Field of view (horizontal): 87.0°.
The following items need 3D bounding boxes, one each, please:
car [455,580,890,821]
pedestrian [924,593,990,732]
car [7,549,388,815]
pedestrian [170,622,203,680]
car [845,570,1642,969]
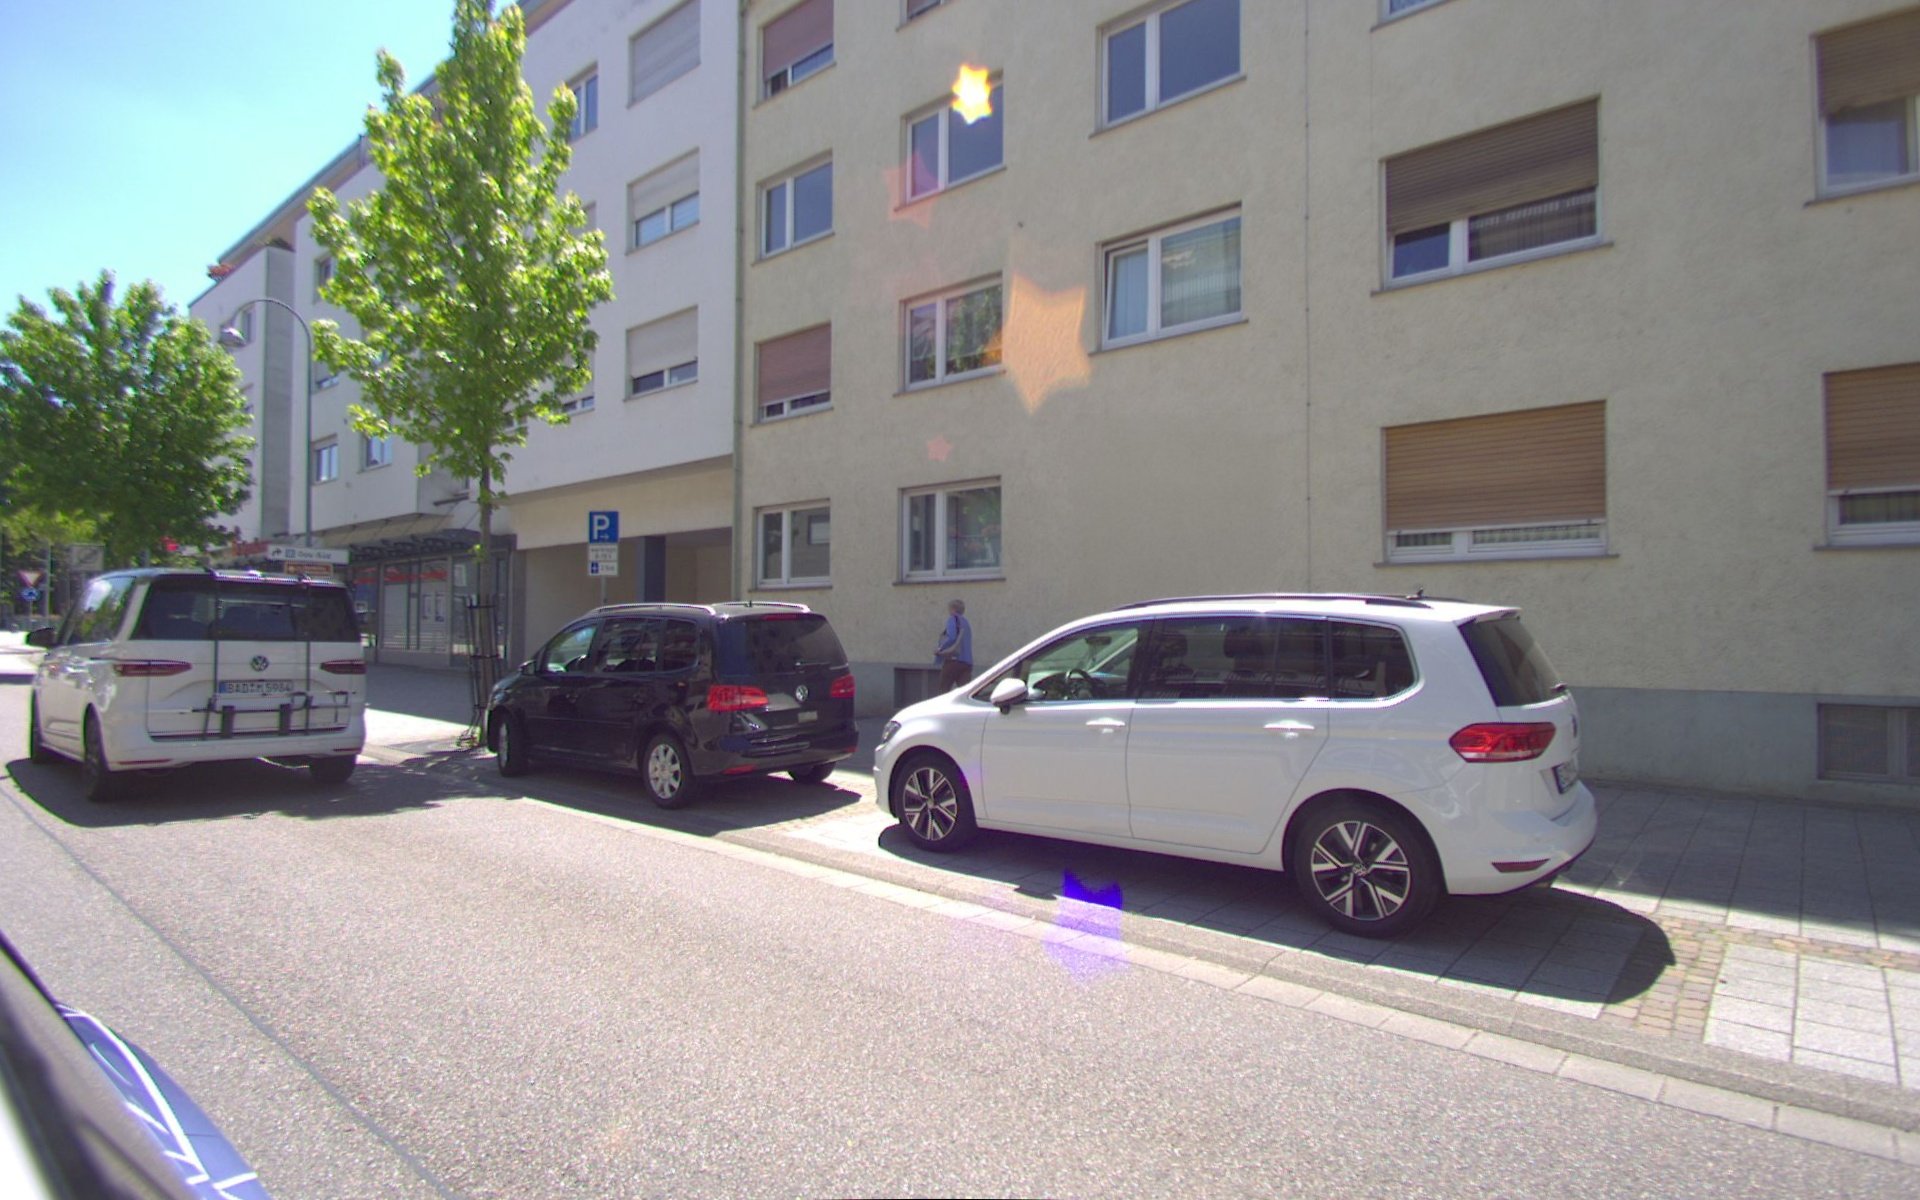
[{"bbox_3d":[-2.850,0.768,9.465,4.388,1.753,1.711,-2,0,40],"label":"car"},{"bbox_3d":[-0.035,0.794,12.816,0.627,1.693,0.653,-2,-5,23],"label":"pedestrian"},{"bbox_3d":[-7.498,0.681,9.739,4.903,1.937,1.887,-1,-4,41],"label":"car"},{"bbox_3d":[-18.809,1.246,24.612,0.560,1.382,0.668,3,-3,-40],"label":"pedestrian"},{"bbox_3d":[1.468,0.752,6.261,4.388,1.632,1.806,-2,-2,40],"label":"car"}]
